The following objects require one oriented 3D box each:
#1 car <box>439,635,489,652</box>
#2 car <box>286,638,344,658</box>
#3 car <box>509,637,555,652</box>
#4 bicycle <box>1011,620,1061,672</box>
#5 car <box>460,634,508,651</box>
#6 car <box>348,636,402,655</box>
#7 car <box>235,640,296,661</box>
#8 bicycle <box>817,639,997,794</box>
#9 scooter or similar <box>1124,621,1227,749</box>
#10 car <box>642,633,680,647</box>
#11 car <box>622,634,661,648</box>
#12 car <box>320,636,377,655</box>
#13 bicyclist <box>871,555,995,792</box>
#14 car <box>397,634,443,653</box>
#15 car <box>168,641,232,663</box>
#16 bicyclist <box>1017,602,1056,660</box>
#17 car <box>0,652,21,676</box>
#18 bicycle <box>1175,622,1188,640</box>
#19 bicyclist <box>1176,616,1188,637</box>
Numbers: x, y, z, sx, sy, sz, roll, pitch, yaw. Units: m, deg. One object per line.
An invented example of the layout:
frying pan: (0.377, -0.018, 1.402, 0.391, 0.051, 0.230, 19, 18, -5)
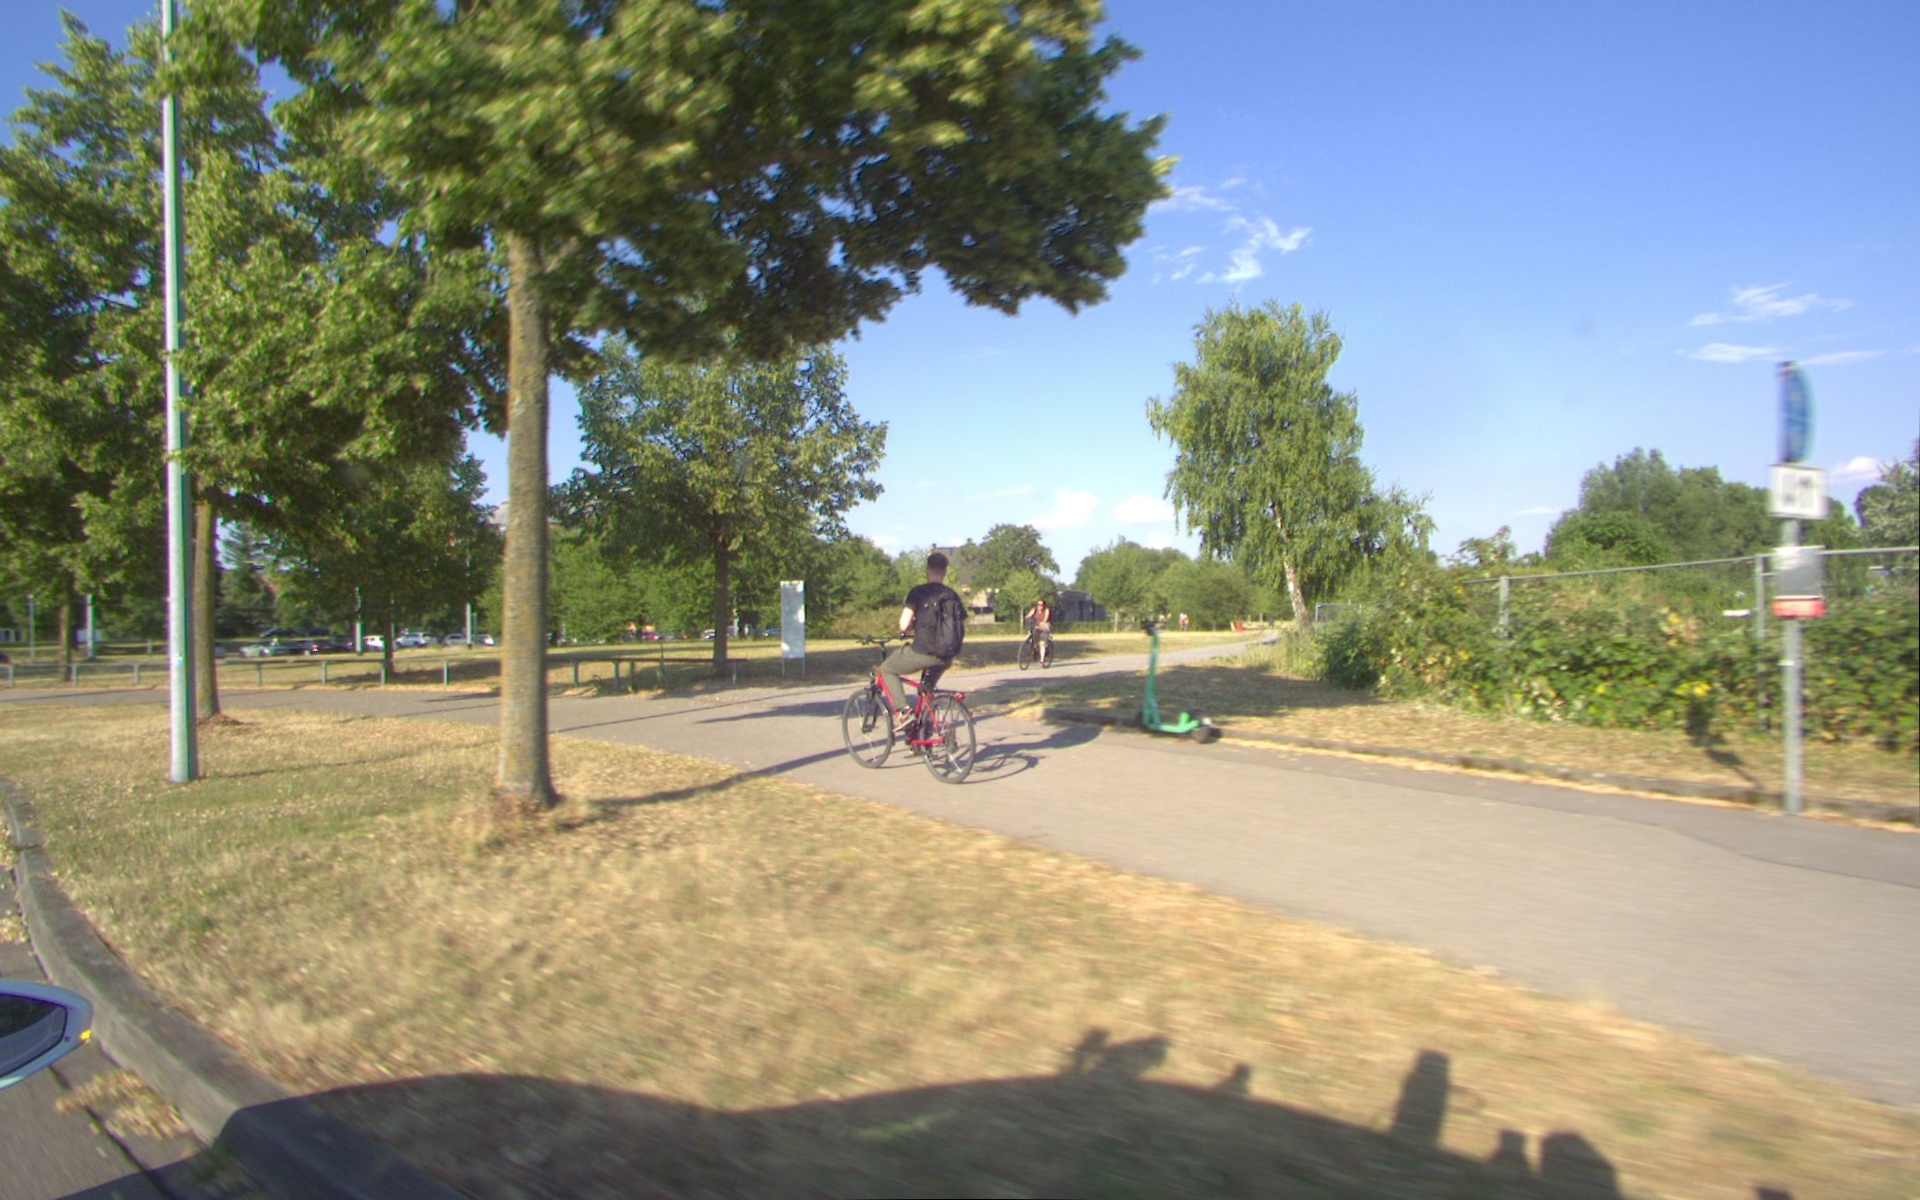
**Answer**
car: (-44.168, 3.850, 89.220, 3.933, 1.421, 1.823, -2, -1, 23)
car: (-49.428, 3.652, 76.777, 3.933, 1.421, 1.823, -2, -1, 23)
car: (-41.468, 4.311, 97.073, 3.933, 1.421, 1.823, -2, -1, 23)
bicycle: (1.859, 1.091, 24.256, 0.484, 1.171, 1.821, -1, 0, 28)
car: (-43.590, 3.867, 91.747, 3.933, 1.421, 1.823, -2, -1, 23)
car: (-47.677, 3.707, 81.592, 3.933, 1.421, 1.823, -2, -1, 23)
car: (-51.259, 3.703, 73.891, 3.933, 1.421, 1.823, -2, -1, 23)
bicycle: (-0.500, 0.932, 8.579, 0.412, 1.173, 1.873, -2, 0, -43)
scooter or similar: (2.167, 0.827, 10.175, 0.337, 1.175, 1.166, -4, 2, -25)
car: (-34.176, 4.561, 114.574, 3.933, 1.421, 1.823, -2, -1, 23)
car: (-35.472, 4.602, 111.546, 3.933, 1.421, 1.823, -2, -1, 23)
car: (-48.359, 3.597, 79.187, 3.933, 1.421, 1.823, -2, -1, 23)
bicyclist: (-0.230, 0.574, 8.326, 0.614, 1.854, 0.822, -2, 1, -43)
car: (-52.843, 4.264, 97.976, 3.933, 1.693, 1.823, -2, -1, 23)
car: (-52.750, 3.609, 69.528, 3.933, 1.421, 1.823, -2, -1, 23)
bicyclist: (1.860, 0.749, 24.262, 0.550, 1.380, 0.976, -1, -1, 29)
car: (-56.588, 3.742, 58.266, 3.907, 1.327, 1.601, -2, -1, 27)
bicycle: (19.244, 2.714, 87.031, 0.385, 1.467, 1.944, -1, -3, -9)
bicyclist: (19.259, 2.282, 86.943, 0.626, 1.801, 0.929, -1, -3, -9)
